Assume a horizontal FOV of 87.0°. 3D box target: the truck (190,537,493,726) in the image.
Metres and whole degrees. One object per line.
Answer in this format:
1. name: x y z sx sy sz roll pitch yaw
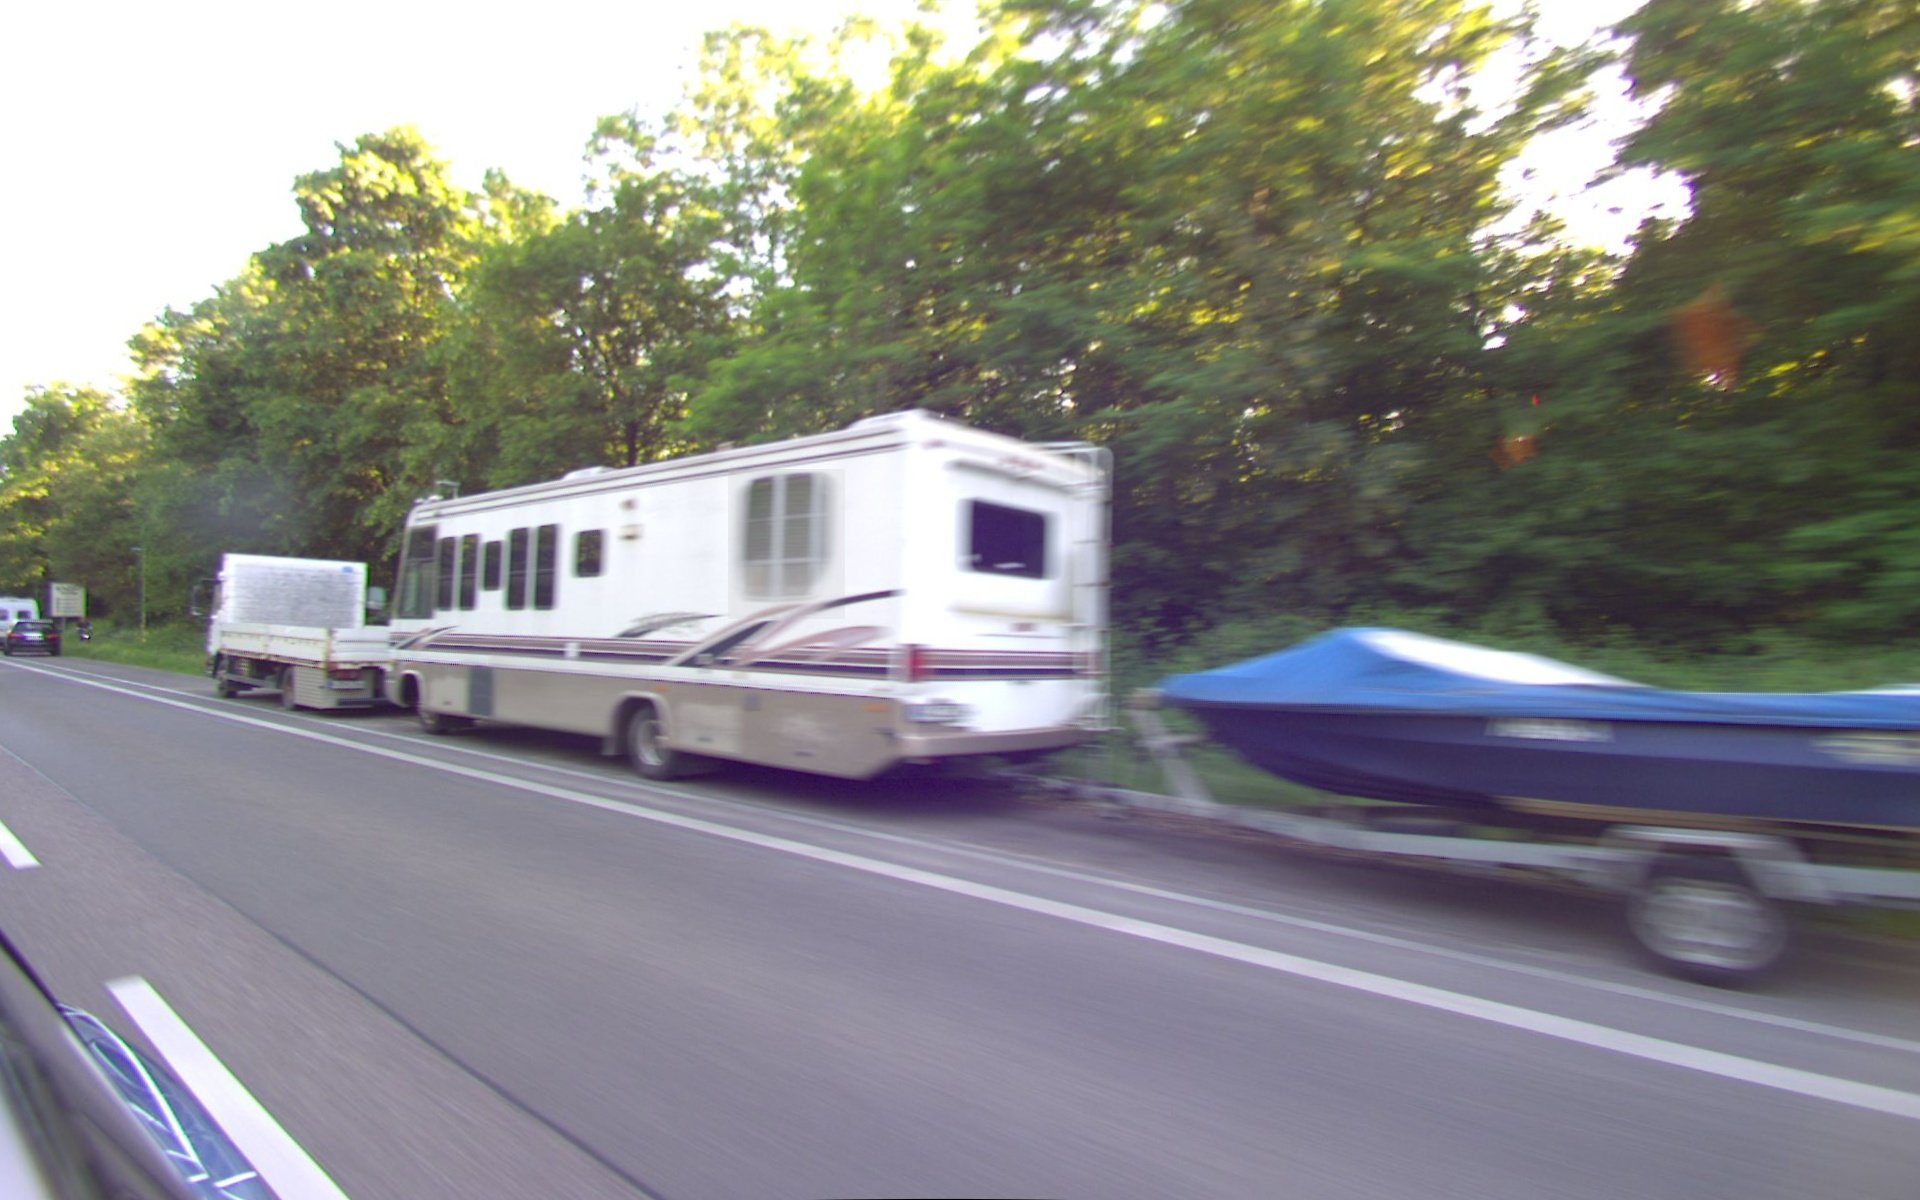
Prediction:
1. truck: -11.871 0.547 18.980 8.420 2.845 2.456 -1 -1 41

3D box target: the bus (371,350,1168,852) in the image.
1. bus: -3.252 0.037 11.742 11.195 3.456 2.798 0 0 41

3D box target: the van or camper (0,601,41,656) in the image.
1. van or camper: -48.251 1.433 50.946 5.981 2.634 2.224 -1 -2 41

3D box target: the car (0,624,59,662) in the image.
1. car: -39.288 1.776 42.619 1.763 1.505 4.003 2 -3 -44

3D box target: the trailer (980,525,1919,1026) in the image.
1. trailer: 3.276 0.707 5.874 6.261 1.929 2.403 -1 -1 41
